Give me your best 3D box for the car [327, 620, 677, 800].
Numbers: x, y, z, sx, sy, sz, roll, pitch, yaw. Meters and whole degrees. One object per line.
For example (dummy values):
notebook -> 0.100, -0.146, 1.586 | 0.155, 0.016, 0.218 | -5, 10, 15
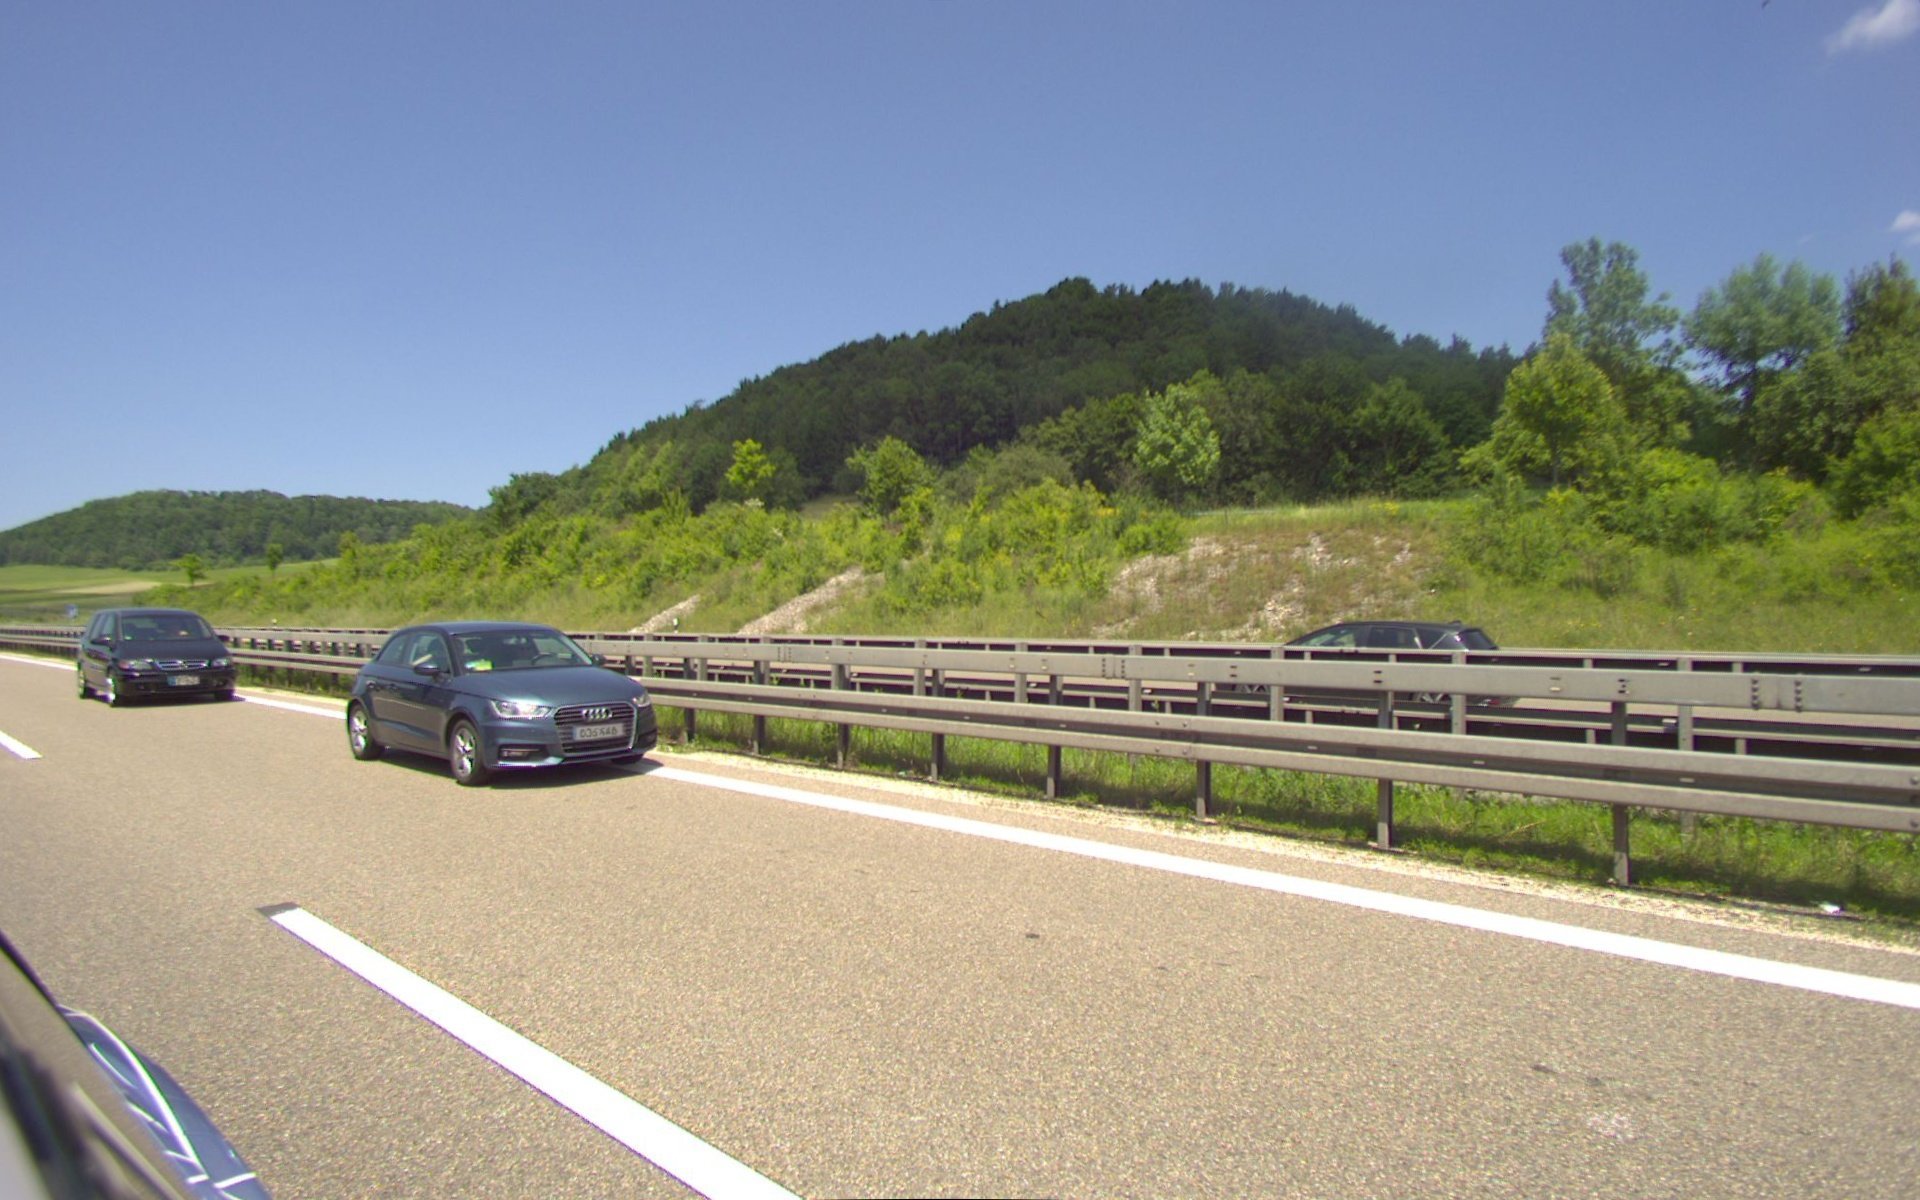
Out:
car -> -4.601, 0.905, 9.901 | 3.999, 1.399, 1.670 | -1, -1, 42

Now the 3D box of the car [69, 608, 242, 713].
car -> -14.396, 0.990, 18.015 | 4.446, 1.647, 1.781 | -1, -1, 43

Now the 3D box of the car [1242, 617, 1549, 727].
car -> 6.190, 0.948, 14.611 | 3.739, 1.379, 1.673 | -1, -1, 41
